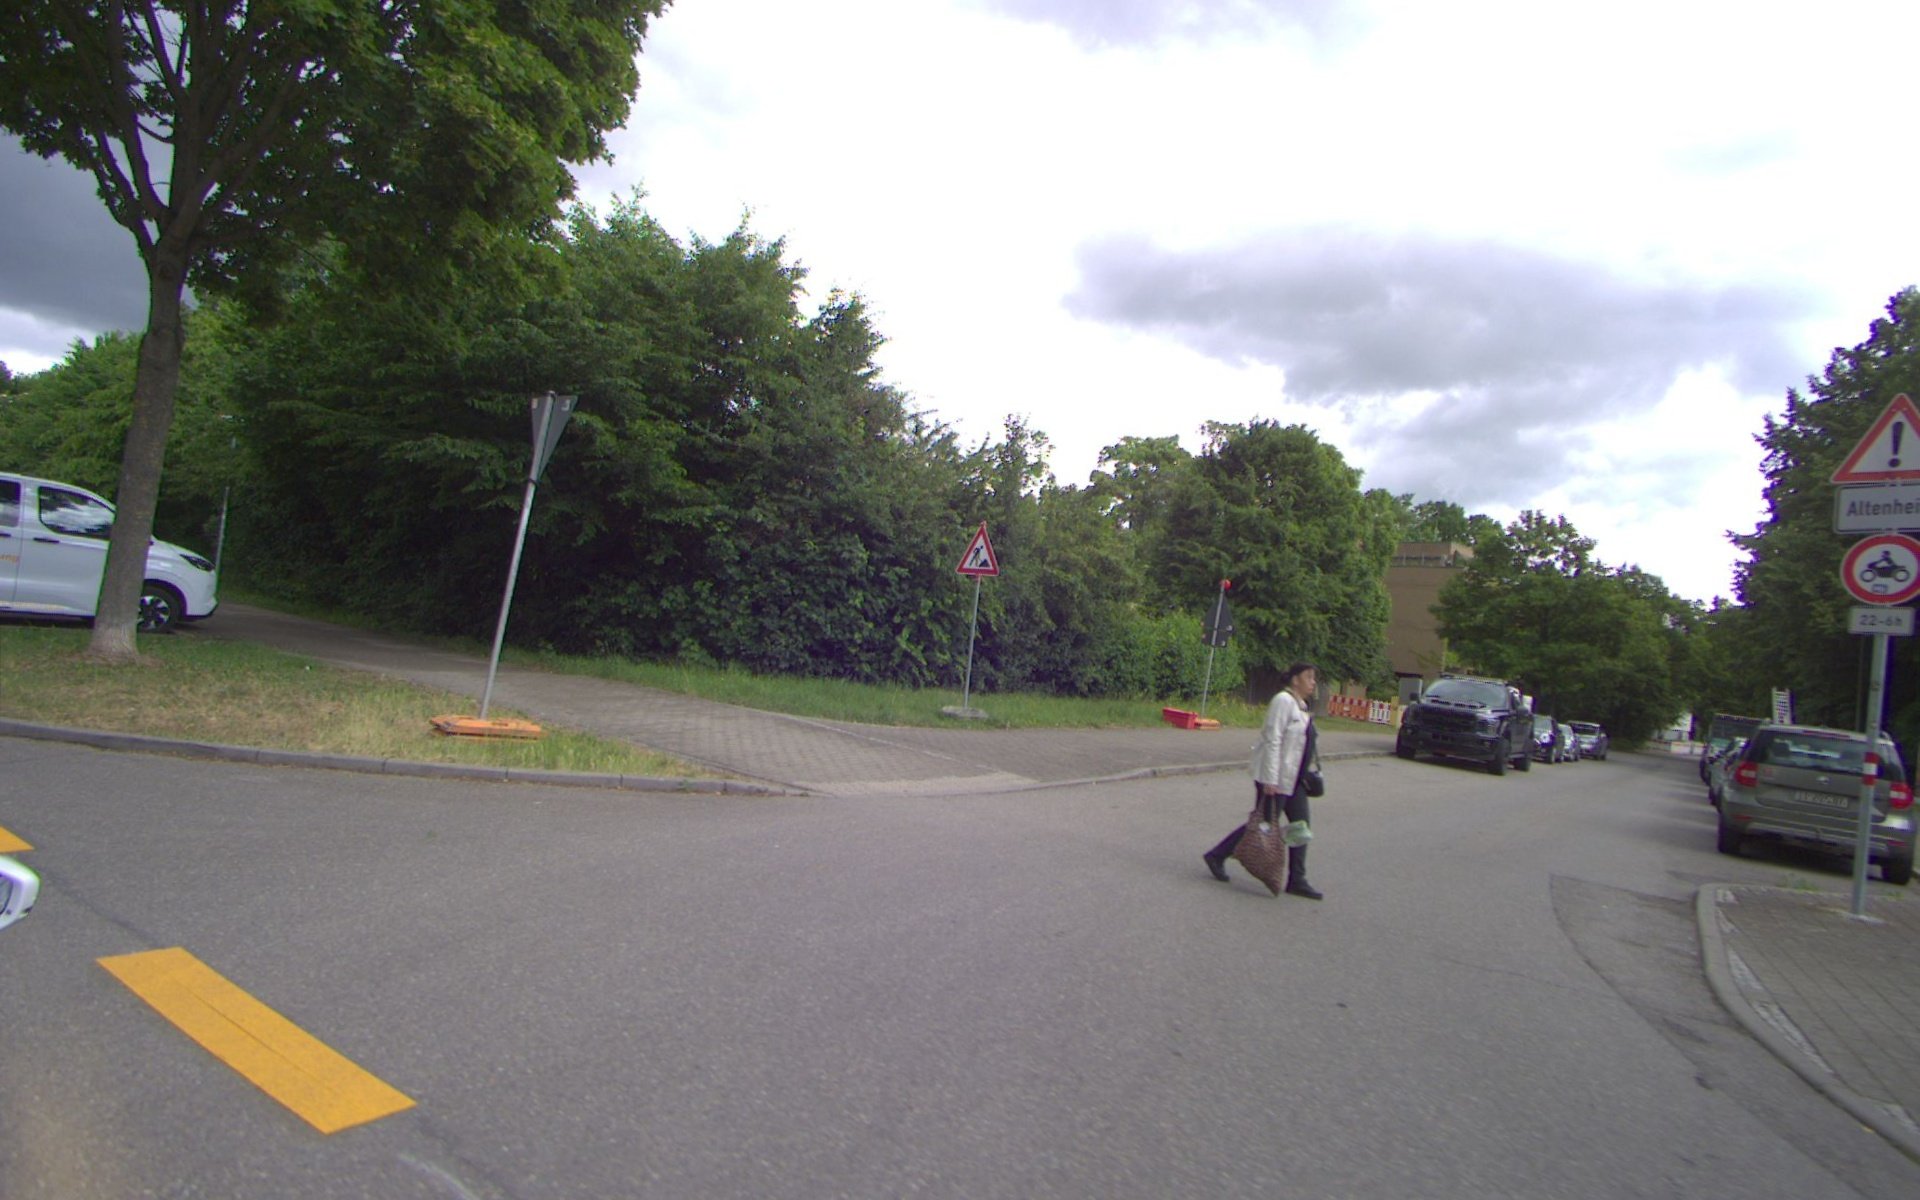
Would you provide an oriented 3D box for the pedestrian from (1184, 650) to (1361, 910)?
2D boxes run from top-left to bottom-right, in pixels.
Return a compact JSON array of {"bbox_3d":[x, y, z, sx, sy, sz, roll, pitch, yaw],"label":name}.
[{"bbox_3d":[2.205,1.216,7.062,0.797,1.595,0.835,6,-1,36],"label":"pedestrian"}]

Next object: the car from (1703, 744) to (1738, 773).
[{"bbox_3d":[50.836,10.578,67.273,1.677,1.543,4.285,6,-2,37],"label":"car"}]

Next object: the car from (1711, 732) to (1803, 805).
[{"bbox_3d":[21.273,4.442,26.987,1.677,1.543,4.285,6,-2,37],"label":"car"}]

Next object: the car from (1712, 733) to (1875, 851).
[{"bbox_3d":[13.825,3.099,16.905,1.677,1.444,4.396,6,-2,36],"label":"car"}]

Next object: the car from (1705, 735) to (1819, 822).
[{"bbox_3d":[17.434,3.808,22.027,1.677,1.444,4.430,6,-2,37],"label":"car"}]

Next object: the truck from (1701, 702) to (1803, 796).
[{"bbox_3d":[25.245,4.710,32.250,2.159,2.454,5.509,6,-2,37],"label":"truck"}]

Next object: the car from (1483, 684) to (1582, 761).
[{"bbox_3d":[19.123,4.070,33.469,2.105,2.080,5.322,6,-2,36],"label":"car"}]

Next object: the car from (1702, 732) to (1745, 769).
[{"bbox_3d":[41.097,8.057,54.204,1.677,1.648,4.285,6,-2,37],"label":"car"}]

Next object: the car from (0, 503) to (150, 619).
[{"bbox_3d":[-14.741,-0.732,14.245,1.818,1.535,4.705,6,0,35],"label":"car"}]

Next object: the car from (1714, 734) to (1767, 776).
[{"bbox_3d":[35.153,6.923,45.370,1.677,1.543,4.285,6,-2,37],"label":"car"}]

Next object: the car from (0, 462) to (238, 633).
[{"bbox_3d":[-12.586,-0.774,12.915,1.816,1.996,4.978,6,0,31],"label":"car"}]

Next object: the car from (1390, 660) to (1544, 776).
[{"bbox_3d":[11.580,2.661,22.751,2.105,2.080,5.322,6,-2,36],"label":"car"}]

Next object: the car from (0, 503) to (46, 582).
[{"bbox_3d":[-20.788,-1.374,19.032,2.077,1.517,4.730,6,-1,32],"label":"car"}]

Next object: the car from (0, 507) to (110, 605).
[{"bbox_3d":[-16.678,-0.901,15.778,2.025,1.451,4.723,6,-1,36],"label":"car"}]

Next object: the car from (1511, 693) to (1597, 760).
[{"bbox_3d":[22.474,4.755,37.934,2.105,2.080,5.322,6,-2,36],"label":"car"}]

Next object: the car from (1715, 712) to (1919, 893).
[{"bbox_3d":[10.793,2.417,12.805,1.741,1.688,3.780,6,-2,37],"label":"car"}]

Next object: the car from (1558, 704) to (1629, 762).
[{"bbox_3d":[28.047,5.864,44.456,2.105,2.080,5.322,6,-2,36],"label":"car"}]

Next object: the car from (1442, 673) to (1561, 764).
[{"bbox_3d":[15.516,3.374,28.659,2.105,2.080,5.322,6,-2,36],"label":"car"}]
